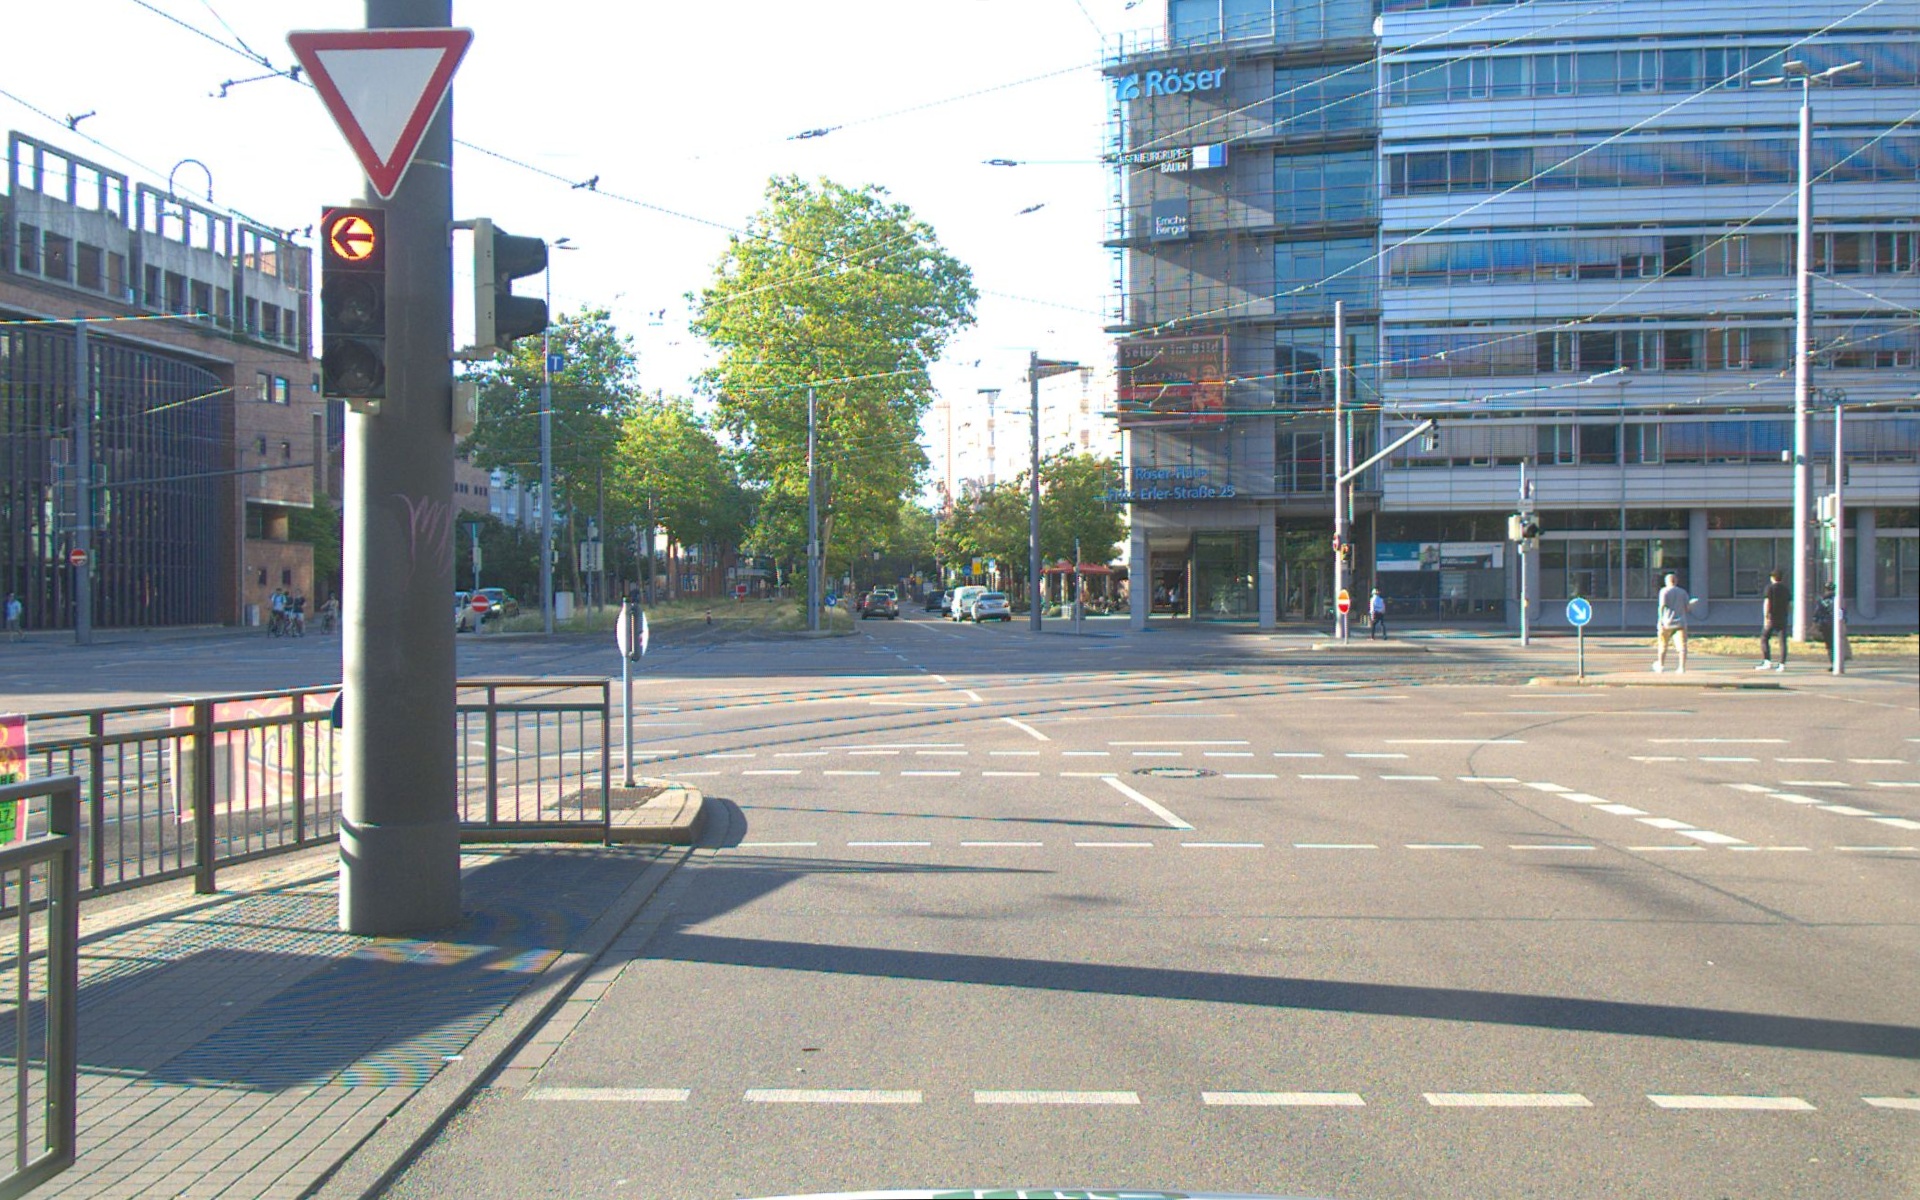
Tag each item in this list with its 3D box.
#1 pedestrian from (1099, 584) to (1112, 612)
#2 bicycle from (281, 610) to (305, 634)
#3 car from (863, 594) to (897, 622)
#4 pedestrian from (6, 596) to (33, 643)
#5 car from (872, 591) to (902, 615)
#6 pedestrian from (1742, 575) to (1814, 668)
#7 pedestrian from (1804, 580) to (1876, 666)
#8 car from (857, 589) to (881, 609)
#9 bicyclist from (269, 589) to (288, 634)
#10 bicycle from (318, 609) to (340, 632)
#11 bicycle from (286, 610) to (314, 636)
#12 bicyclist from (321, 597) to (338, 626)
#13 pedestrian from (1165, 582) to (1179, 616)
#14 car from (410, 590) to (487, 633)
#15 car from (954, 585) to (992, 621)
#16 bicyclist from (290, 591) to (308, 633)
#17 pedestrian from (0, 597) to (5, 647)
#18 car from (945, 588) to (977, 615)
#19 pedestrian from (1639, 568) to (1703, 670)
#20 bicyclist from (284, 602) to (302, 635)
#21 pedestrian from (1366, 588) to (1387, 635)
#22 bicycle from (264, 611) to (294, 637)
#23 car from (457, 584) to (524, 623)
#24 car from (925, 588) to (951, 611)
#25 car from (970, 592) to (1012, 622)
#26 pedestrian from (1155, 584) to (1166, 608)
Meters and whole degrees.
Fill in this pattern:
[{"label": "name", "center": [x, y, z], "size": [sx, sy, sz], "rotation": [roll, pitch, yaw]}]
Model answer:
[{"label": "pedestrian", "center": [9.245, -0.136, 105.033], "size": [0.729, 1.744, 0.612], "rotation": [-1, 0, -1]}, {"label": "bicycle", "center": [-27.501, 0.898, 68.215], "size": [0.458, 0.980, 1.320], "rotation": [-1, 0, -1]}, {"label": "car", "center": [-4.426, 0.419, 92.045], "size": [1.761, 1.467, 3.999], "rotation": [-1, 0, -1]}, {"label": "pedestrian", "center": [-33.522, 0.688, 58.935], "size": [0.598, 1.653, 0.618], "rotation": [-1, 0, 1]}, {"label": "car", "center": [-4.571, 0.181, 104.043], "size": [1.761, 1.467, 3.999], "rotation": [1, 0, -1]}, {"label": "pedestrian", "center": [15.481, 0.396, 31.327], "size": [0.893, 1.714, 1.036], "rotation": [-1, 0, 6]}, {"label": "pedestrian", "center": [16.529, 0.419, 31.084], "size": [0.928, 1.591, 0.897], "rotation": [-1, 0, 6]}, {"label": "car", "center": [-6.911, -0.033, 126.217], "size": [1.762, 1.467, 3.998], "rotation": [1, 0, -3]}, {"label": "bicyclist", "center": [-26.821, 0.438, 65.095], "size": [0.525, 1.761, 0.581], "rotation": [-1, 0, -1]}, {"label": "bicycle", "center": [-27.088, 0.869, 70.979], "size": [0.442, 0.980, 1.347], "rotation": [-1, 0, -1]}, {"label": "bicycle", "center": [-26.128, 0.916, 65.492], "size": [0.463, 0.980, 1.575], "rotation": [-1, 0, -1]}, {"label": "bicyclist", "center": [-27.071, 0.495, 70.988], "size": [0.495, 1.199, 0.581], "rotation": [-1, 0, -1]}, {"label": "pedestrian", "center": [9.660, -0.046, 75.311], "size": [0.599, 1.534, 0.579], "rotation": [-1, 0, 7]}, {"label": "car", "center": [-20.668, 0.446, 67.026], "size": [1.953, 1.668, 3.999], "rotation": [-1, 0, -2]}, {"label": "car", "center": [0.686, 0.162, 89.565], "size": [1.953, 1.892, 3.999], "rotation": [-1, 0, -1]}, {"label": "bicyclist", "center": [-26.132, 0.482, 65.384], "size": [0.449, 1.631, 0.581], "rotation": [-1, 0, -1]}, {"label": "pedestrian", "center": [-33.541, 0.769, 57.266], "size": [0.578, 1.713, 0.551], "rotation": [-1, 0, 2]}, {"label": "car", "center": [0.034, 0.071, 105.202], "size": [1.953, 1.646, 3.999], "rotation": [-1, 0, -1]}, {"label": "pedestrian", "center": [12.940, 0.338, 30.126], "size": [0.845, 1.820, 0.872], "rotation": [-1, 0, 6]}, {"label": "bicyclist", "center": [-27.497, 0.766, 68.182], "size": [0.495, 1.327, 0.581], "rotation": [-1, 0, -1]}, {"label": "pedestrian", "center": [13.608, 0.379, 54.024], "size": [0.599, 1.534, 0.579], "rotation": [-1, 0, 7]}, {"label": "bicycle", "center": [-26.829, 0.934, 65.144], "size": [0.531, 0.980, 1.586], "rotation": [-1, 0, -1]}, {"label": "car", "center": [-21.122, 0.146, 74.585], "size": [1.953, 1.668, 3.999], "rotation": [-1, 0, -2]}, {"label": "car", "center": [-1.679, -0.048, 126.627], "size": [1.953, 1.646, 3.999], "rotation": [-1, 0, -1]}, {"label": "car", "center": [1.535, 0.337, 82.779], "size": [1.953, 1.400, 3.999], "rotation": [-1, 0, -1]}, {"label": "pedestrian", "center": [14.797, -0.279, 122.205], "size": [0.729, 1.744, 0.612], "rotation": [-1, 0, -1]}]
